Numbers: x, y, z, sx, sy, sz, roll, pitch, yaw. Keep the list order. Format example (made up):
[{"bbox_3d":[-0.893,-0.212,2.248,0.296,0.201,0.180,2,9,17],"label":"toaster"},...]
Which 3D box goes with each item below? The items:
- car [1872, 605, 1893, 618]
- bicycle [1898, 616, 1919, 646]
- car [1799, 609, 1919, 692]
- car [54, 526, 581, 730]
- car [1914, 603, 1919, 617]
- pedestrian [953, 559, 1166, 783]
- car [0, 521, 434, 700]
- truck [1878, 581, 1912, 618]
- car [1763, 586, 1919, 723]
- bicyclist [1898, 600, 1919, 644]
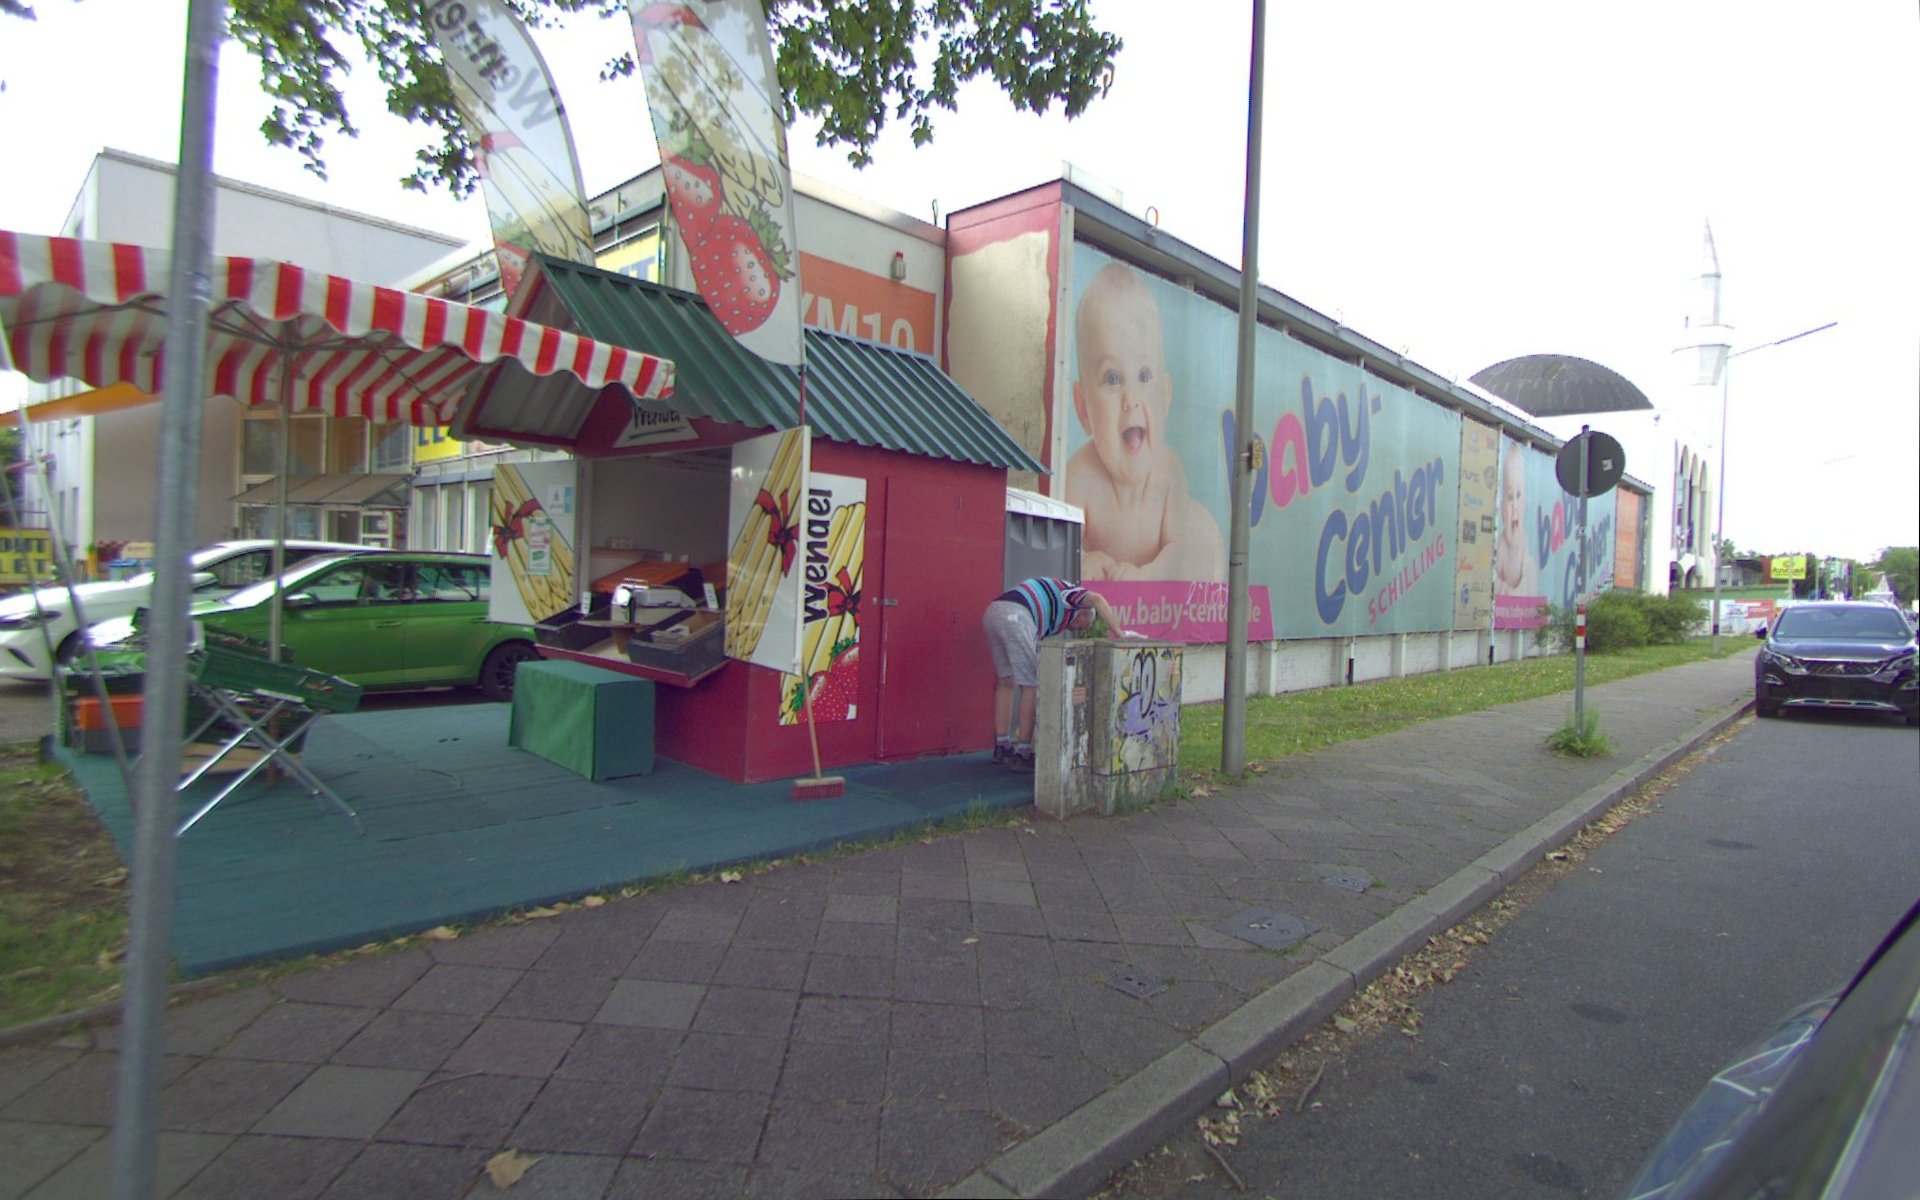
[{"bbox_3d":[99.916,1.272,109.624,1.660,1.358,3.923,-2,-2,42],"label":"car"},{"bbox_3d":[39.203,1.263,41.672,0.797,1.195,2.586,0,0,42],"label":"bicycle"},{"bbox_3d":[17.320,0.870,19.198,1.808,1.408,4.514,-1,-1,44],"label":"car"},{"bbox_3d":[-5.897,0.188,9.617,1.740,1.531,3.936,3,1,44],"label":"car"},{"bbox_3d":[134.521,1.457,141.267,1.792,1.915,3.939,3,1,42],"label":"car"},{"bbox_3d":[0.647,0.411,6.715,0.947,1.330,1.016,1,1,-38],"label":"pedestrian"},{"bbox_3d":[-8.092,0.068,10.904,1.737,1.588,3.943,2,1,39],"label":"car"},{"bbox_3d":[110.342,0.009,119.489,2.777,4.169,8.149,-1,-1,43],"label":"truck"},{"bbox_3d":[12.894,0.697,14.583,1.806,1.687,4.569,-1,-1,42],"label":"car"},{"bbox_3d":[39.248,0.894,41.727,0.806,1.815,1.188,0,0,42],"label":"bicyclist"}]
